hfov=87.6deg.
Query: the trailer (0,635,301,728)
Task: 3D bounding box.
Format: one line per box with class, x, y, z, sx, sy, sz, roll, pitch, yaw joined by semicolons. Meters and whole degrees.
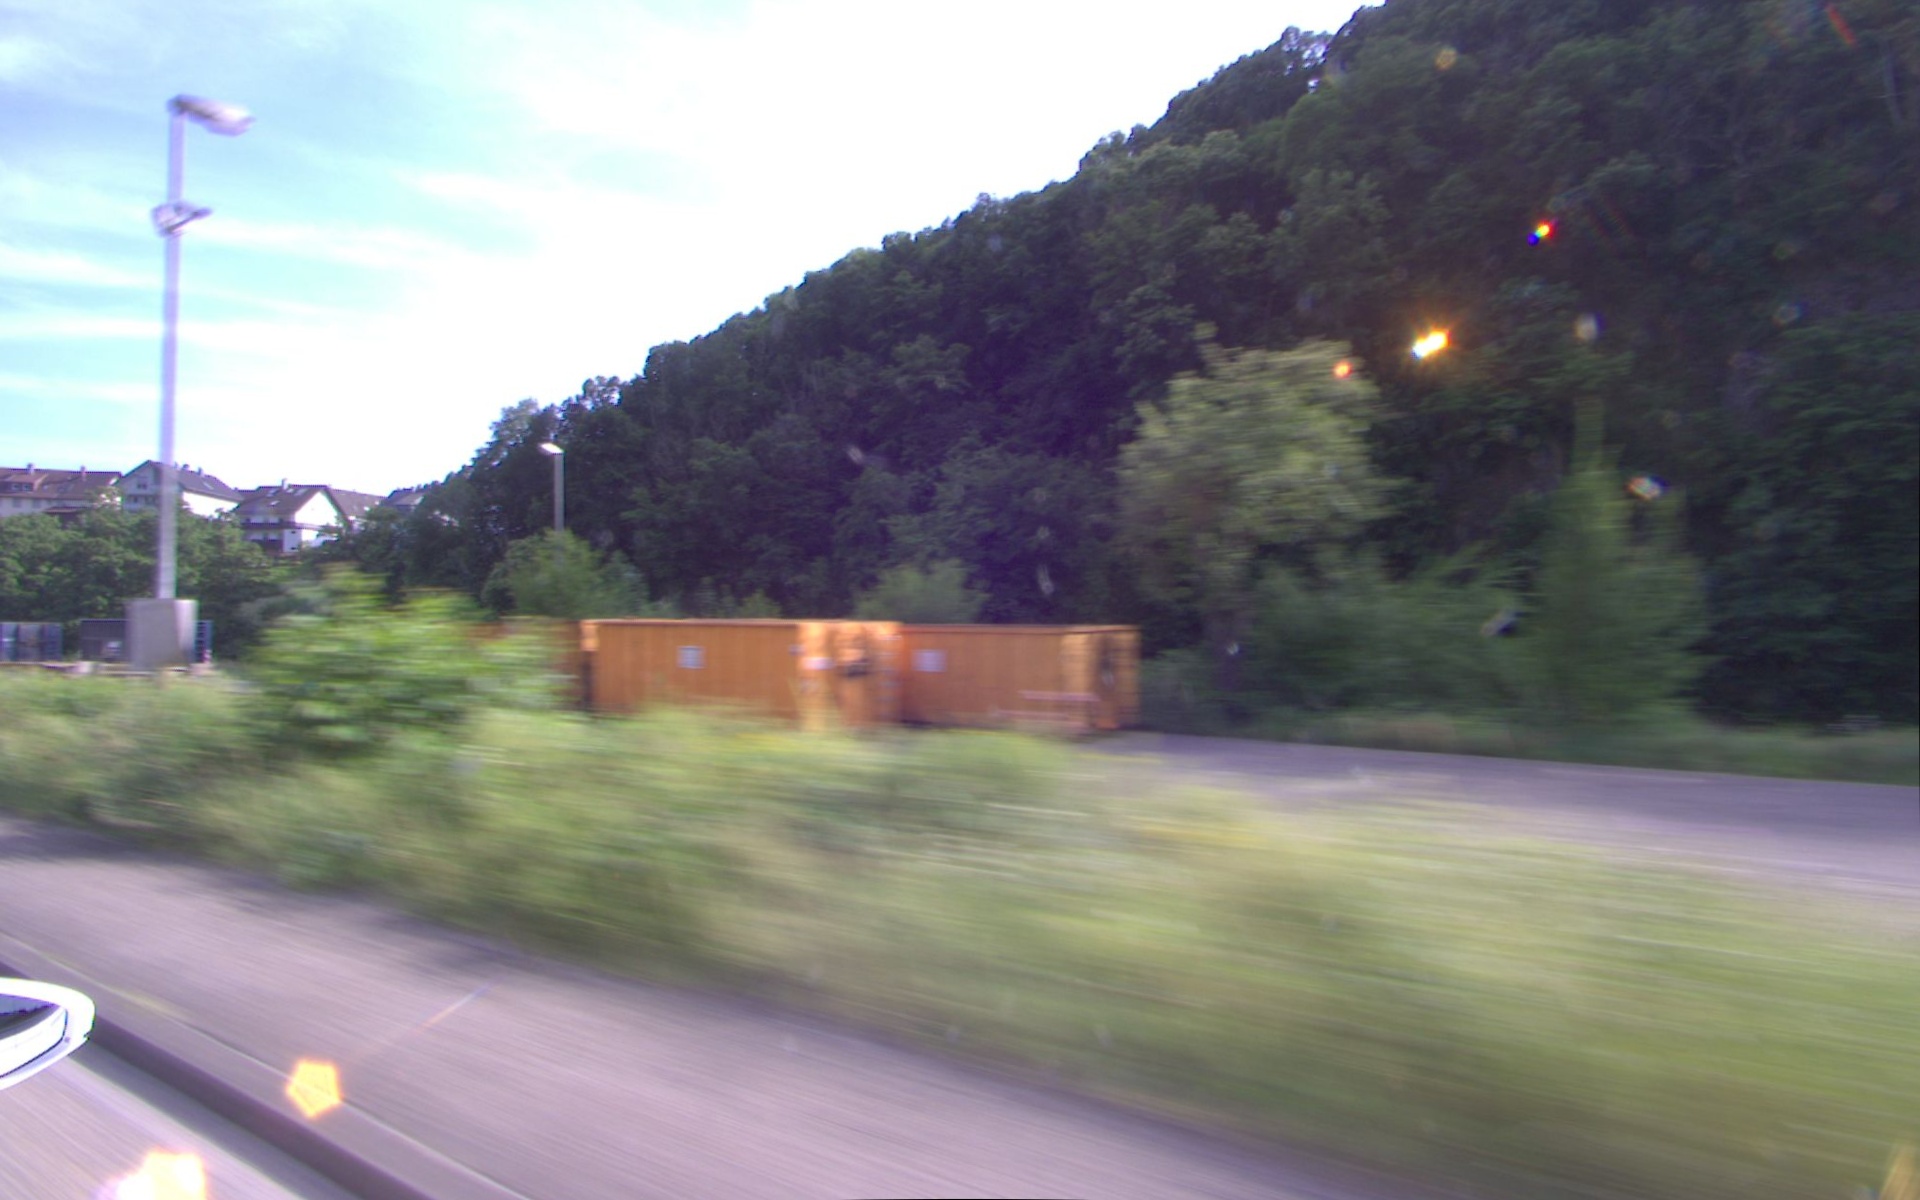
trailer;-17.434;1.527;20.154;9.737;1.491;2.792;0;-5;30
